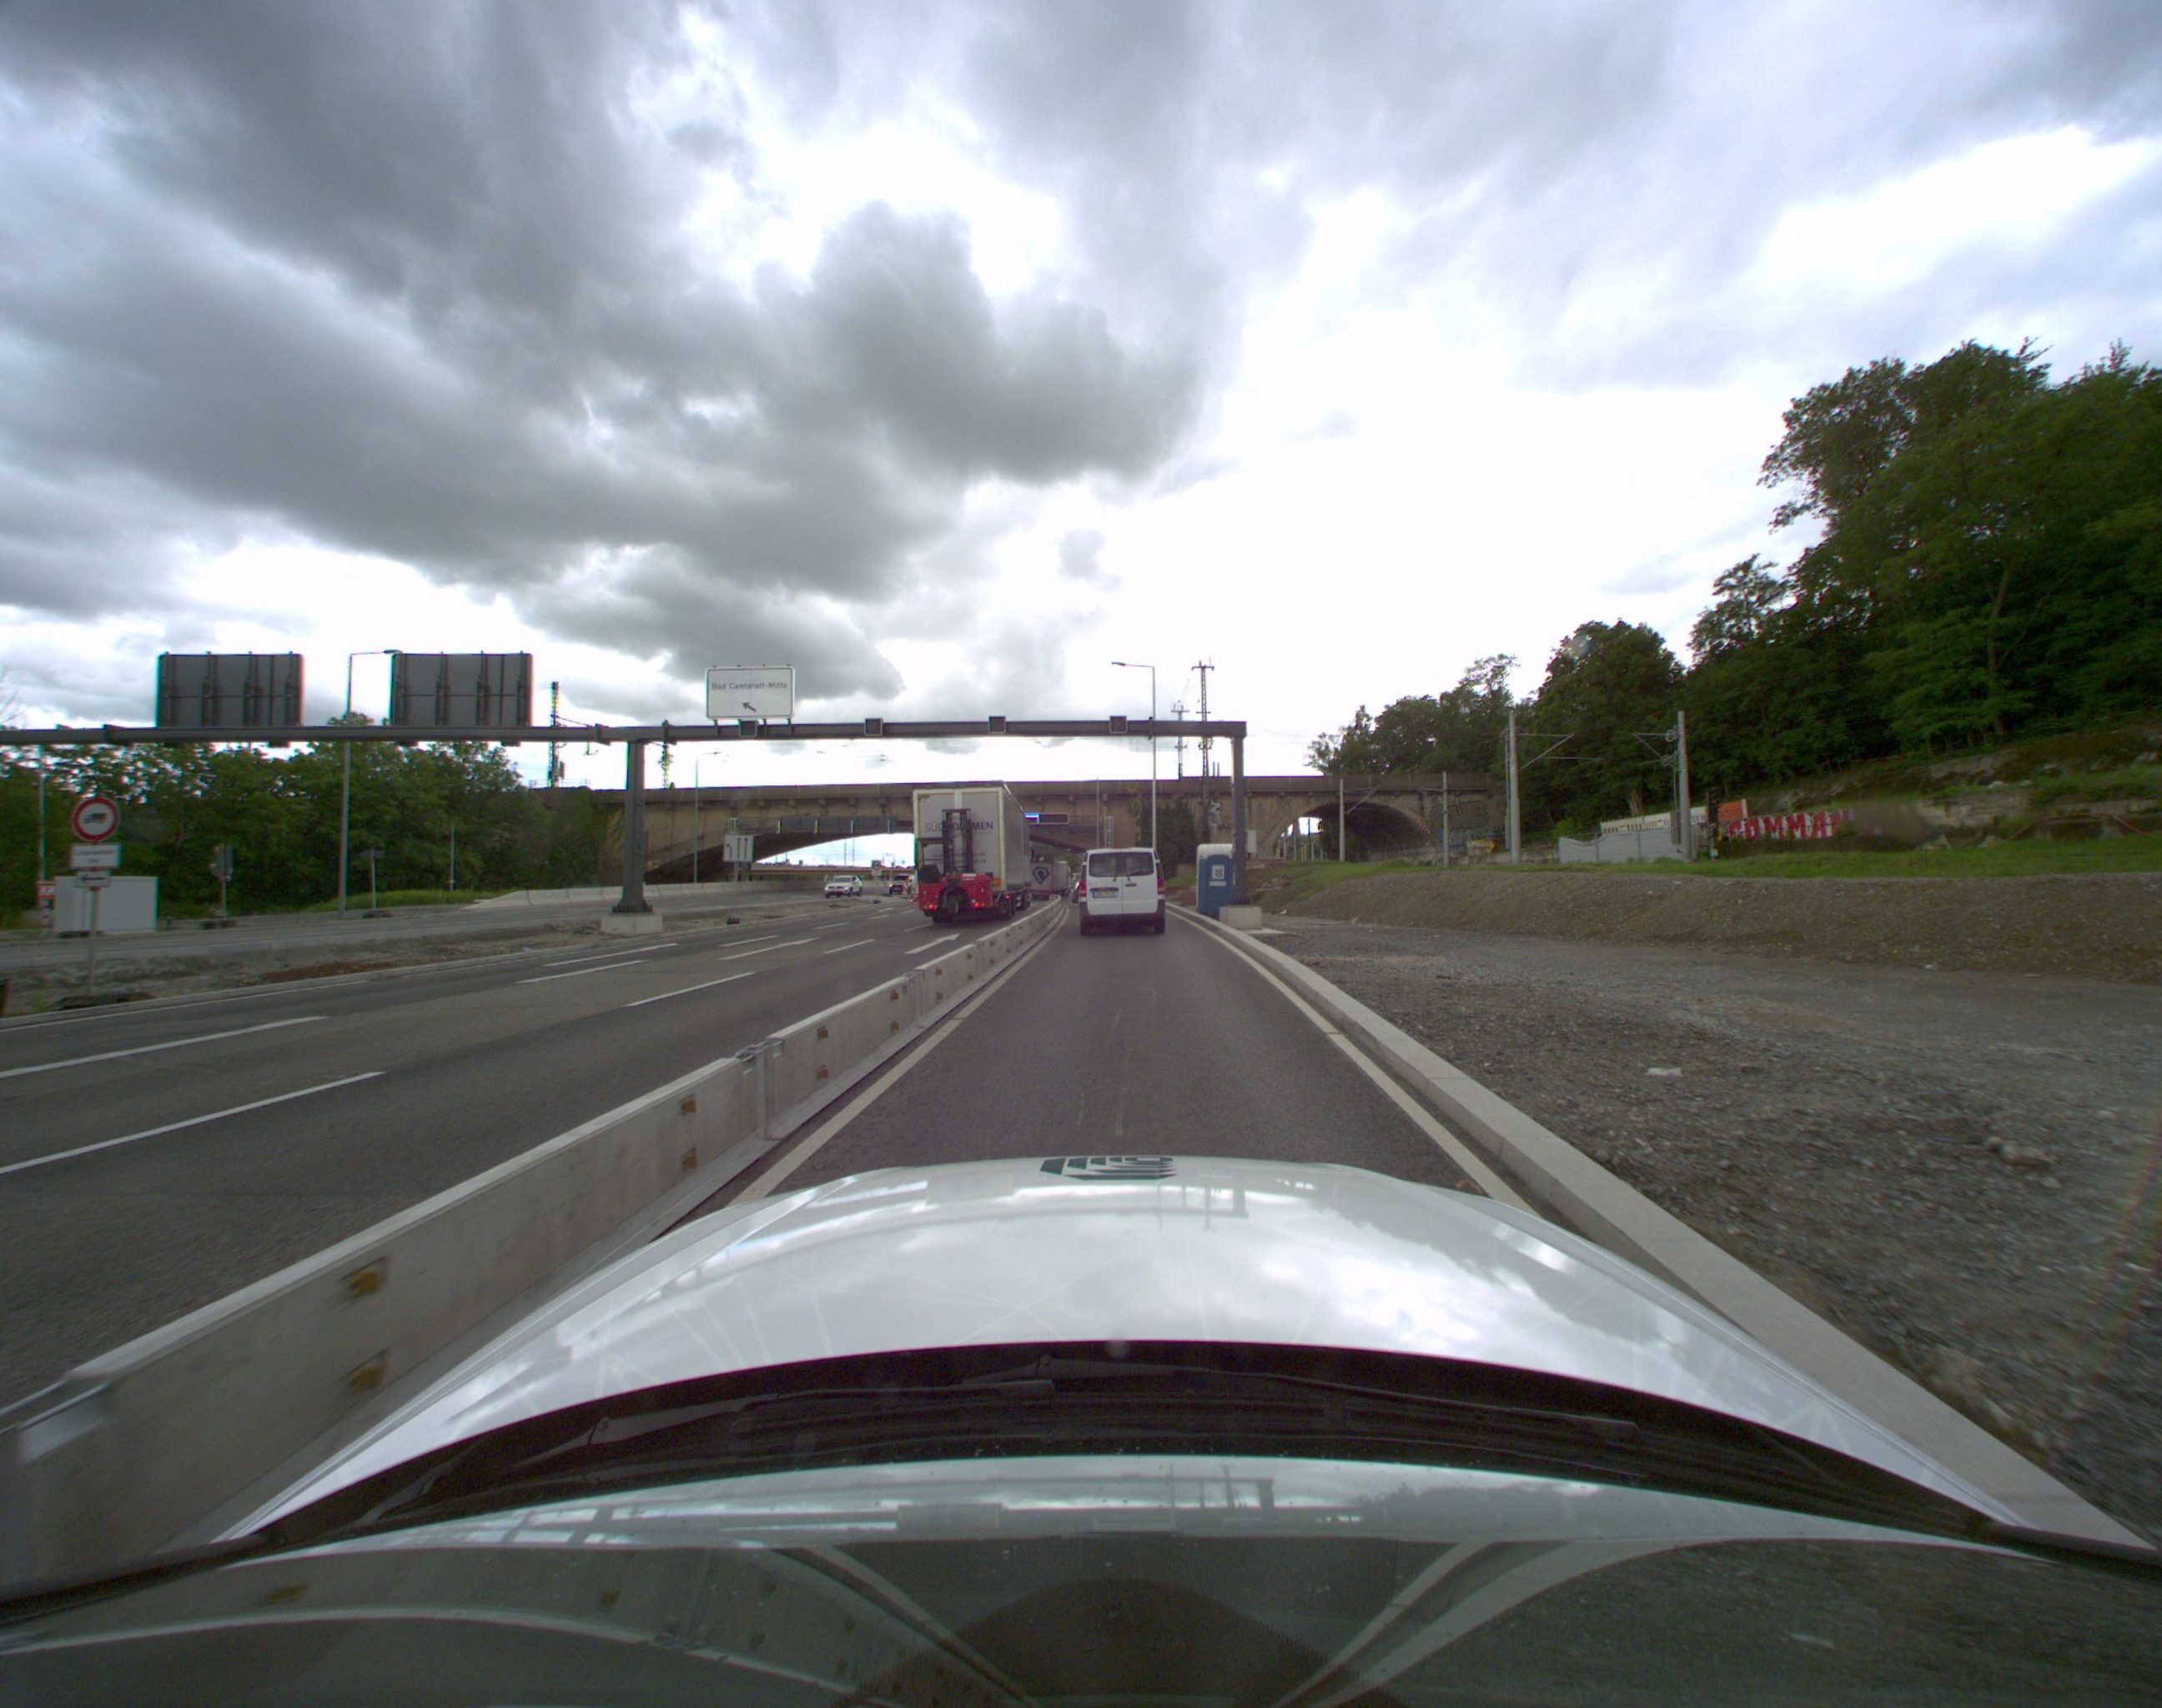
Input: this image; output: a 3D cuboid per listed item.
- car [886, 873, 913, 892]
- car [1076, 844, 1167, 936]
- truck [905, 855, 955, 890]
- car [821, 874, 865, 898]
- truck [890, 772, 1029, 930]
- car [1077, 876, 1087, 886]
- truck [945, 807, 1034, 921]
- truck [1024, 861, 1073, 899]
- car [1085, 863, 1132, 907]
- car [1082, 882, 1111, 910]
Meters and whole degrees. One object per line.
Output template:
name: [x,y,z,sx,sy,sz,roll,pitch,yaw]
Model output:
car: [-17.587,2.728,79.046,1.820,1.807,3.799,-1,-1,-1]
car: [1.011,0.767,19.290,1.868,1.891,4.758,0,-1,4]
truck: [-19.085,2.382,104.036,2.887,4.062,13.999,-1,-1,3]
car: [-17.439,2.343,59.929,1.793,1.662,4.289,-1,-1,2]
truck: [-3.498,0.013,26.445,2.909,4.017,10.196,-3,-1,-1]
car: [0.289,5.591,169.161,1.986,2.014,4.000,-1,-1,1]
truck: [-3.777,0.424,36.501,2.980,4.176,11.229,-3,0,-2]
truck: [-3.454,2.956,93.140,3.300,3.810,16.614,1,-2,5]
car: [1.064,1.245,33.025,1.744,1.625,3.843,-1,-2,0]
car: [0.847,2.424,46.408,1.496,1.469,3.396,0,-4,-1]
